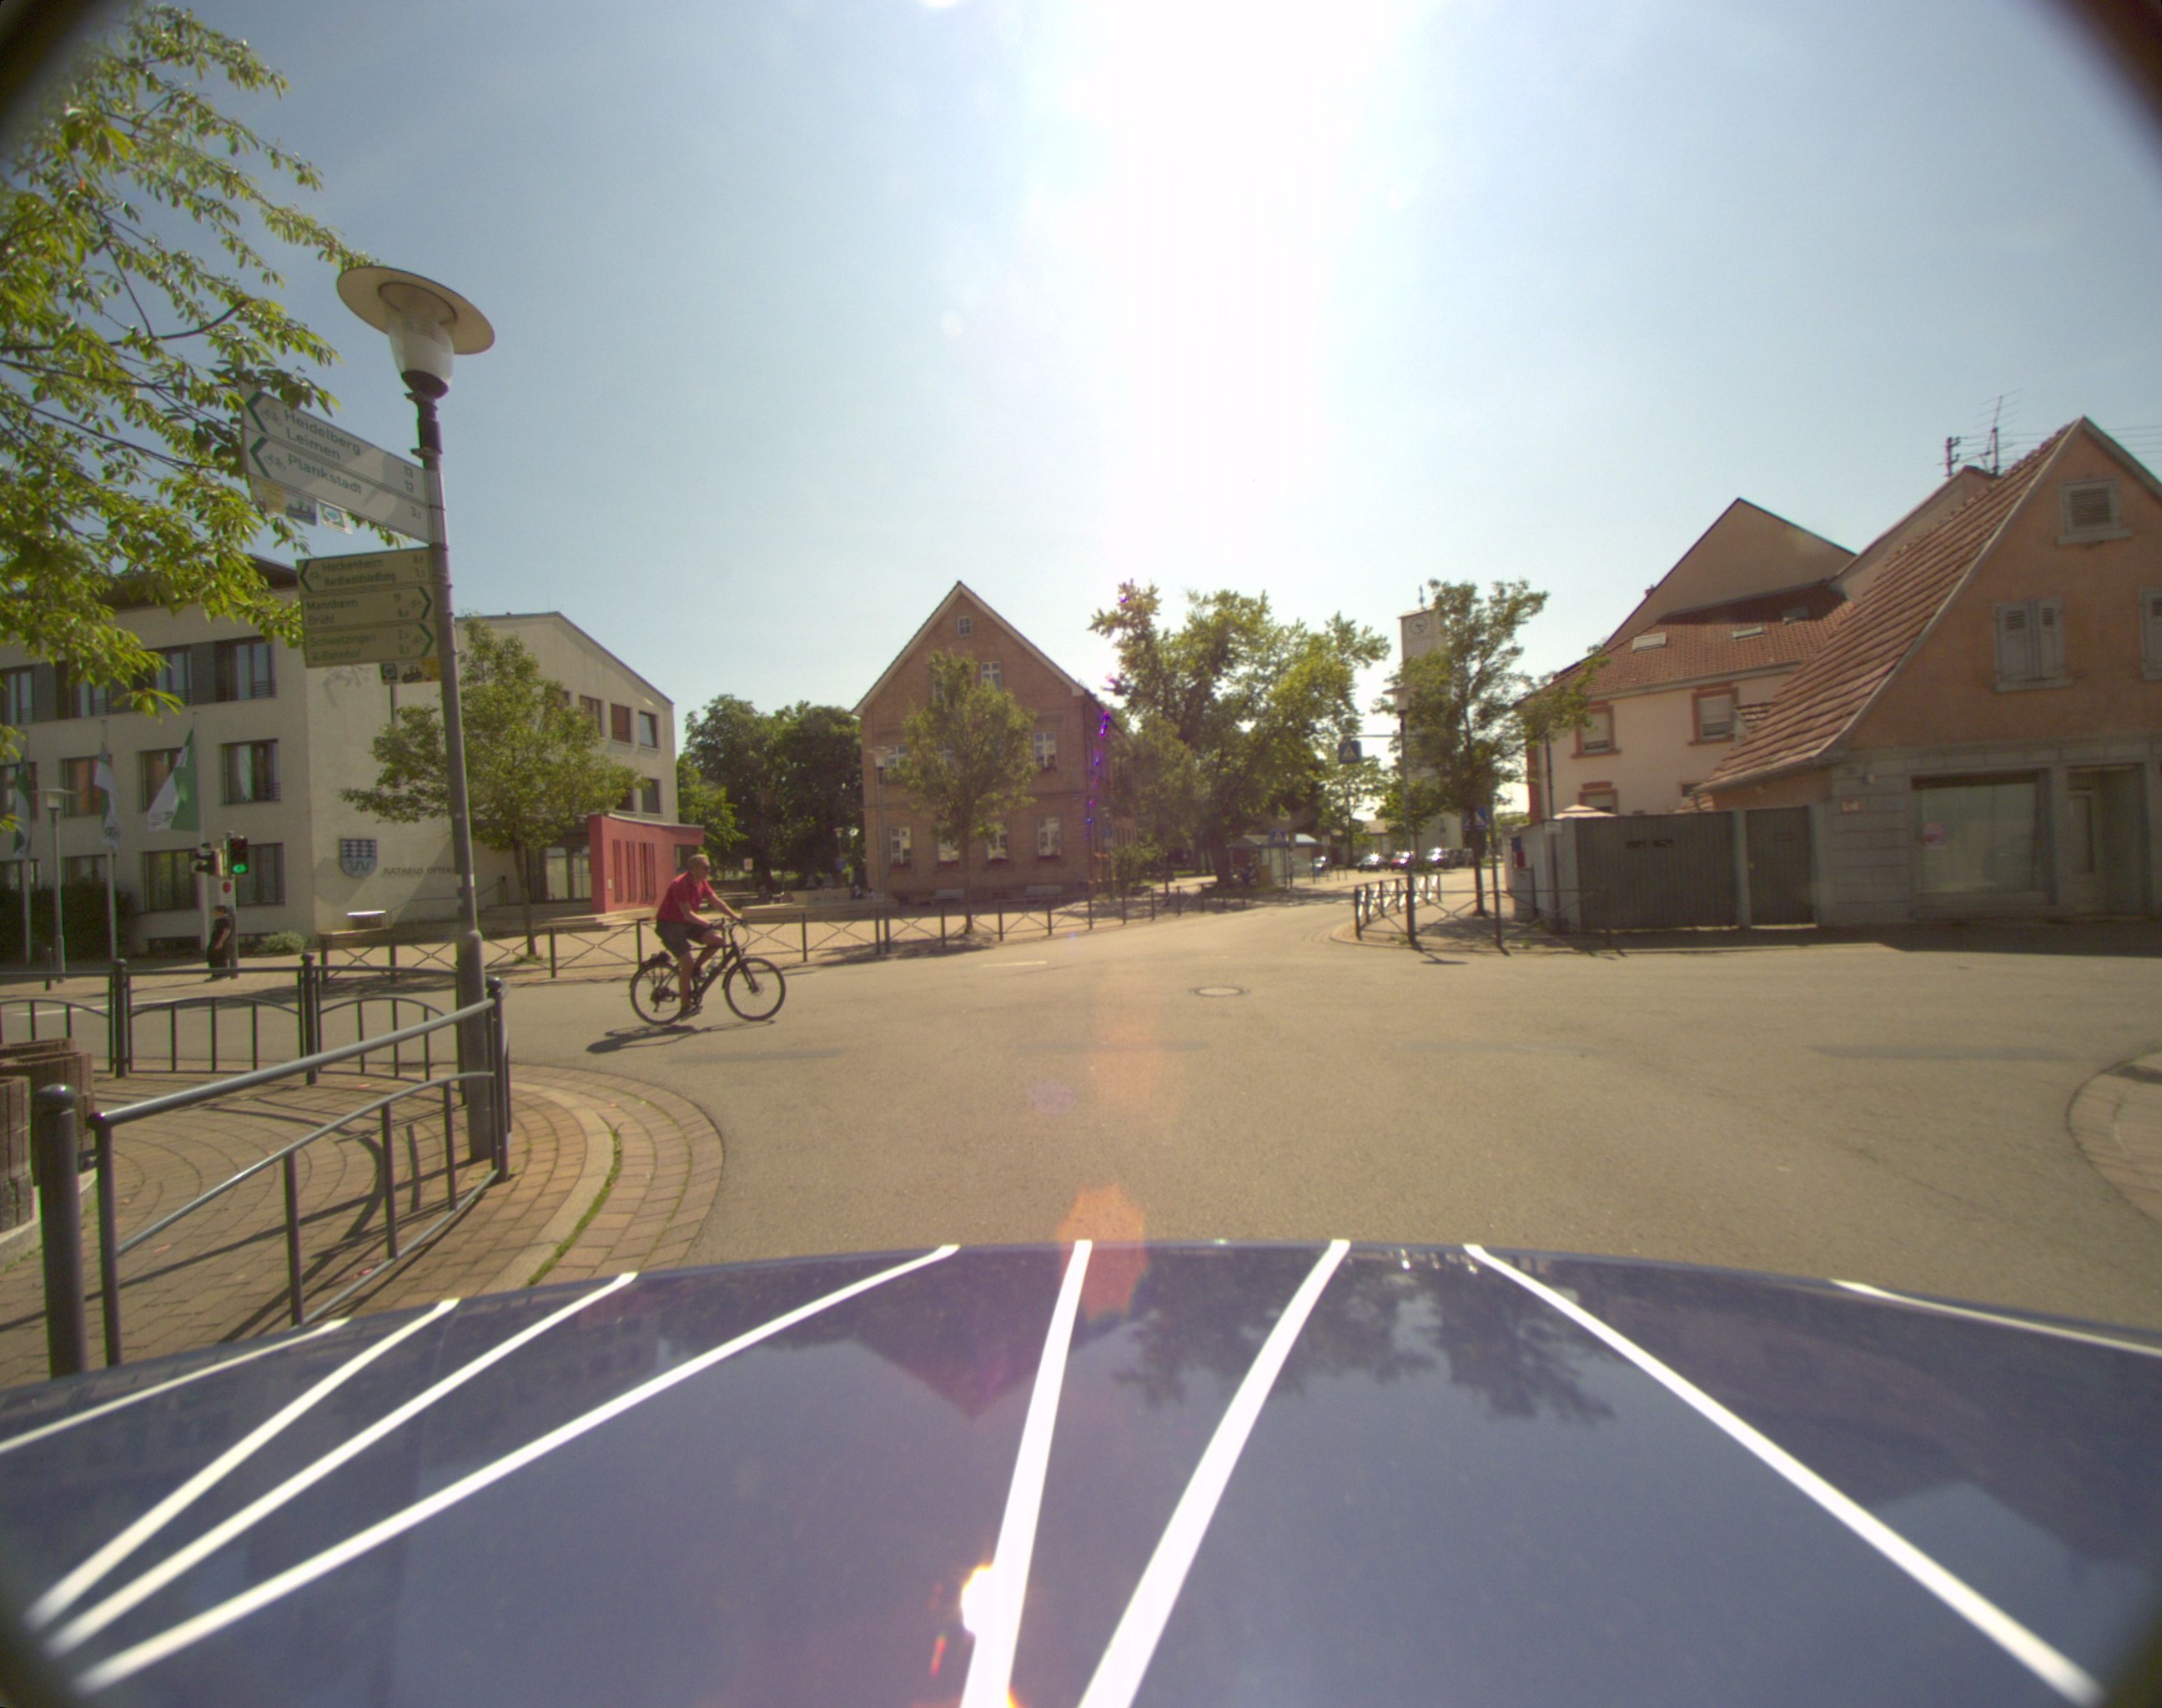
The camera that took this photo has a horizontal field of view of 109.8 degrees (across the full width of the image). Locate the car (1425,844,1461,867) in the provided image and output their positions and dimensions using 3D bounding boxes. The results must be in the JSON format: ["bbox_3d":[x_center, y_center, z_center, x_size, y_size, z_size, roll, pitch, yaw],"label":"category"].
[{"bbox_3d":[30.159,0.088,63.320,1.777,1.783,4.008,-2,0,39],"label":"car"}]

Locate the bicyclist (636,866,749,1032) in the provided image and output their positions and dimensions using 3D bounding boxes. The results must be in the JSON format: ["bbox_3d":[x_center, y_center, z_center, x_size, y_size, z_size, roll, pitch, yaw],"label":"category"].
[{"bbox_3d":[-4.213,1.005,8.284,0.759,1.706,0.704,-2,0,9],"label":"bicyclist"}]

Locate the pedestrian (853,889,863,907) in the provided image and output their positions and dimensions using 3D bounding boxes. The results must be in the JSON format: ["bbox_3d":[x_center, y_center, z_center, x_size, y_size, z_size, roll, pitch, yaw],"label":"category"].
[{"bbox_3d":[-10.552,2.067,35.911,0.367,0.812,0.361,-3,-1,-5],"label":"pedestrian"}]

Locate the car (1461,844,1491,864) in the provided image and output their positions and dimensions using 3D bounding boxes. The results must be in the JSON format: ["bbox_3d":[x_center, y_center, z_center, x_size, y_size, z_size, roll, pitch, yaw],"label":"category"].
[{"bbox_3d":[33.811,-0.001,65.018,1.777,1.635,4.008,-4,-2,34],"label":"car"}]

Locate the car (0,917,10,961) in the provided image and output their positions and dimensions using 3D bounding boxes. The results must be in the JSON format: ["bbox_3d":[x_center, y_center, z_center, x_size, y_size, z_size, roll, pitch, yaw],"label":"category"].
[{"bbox_3d":[-39.423,3.064,25.258,1.746,1.538,4.003,-3,0,10],"label":"car"}]

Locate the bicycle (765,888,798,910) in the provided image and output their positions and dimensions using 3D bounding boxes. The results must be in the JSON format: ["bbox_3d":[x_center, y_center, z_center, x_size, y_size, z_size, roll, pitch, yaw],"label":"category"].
[{"bbox_3d":[-15.458,2.310,39.234,0.580,1.000,1.955,-3,1,10],"label":"bicycle"}]

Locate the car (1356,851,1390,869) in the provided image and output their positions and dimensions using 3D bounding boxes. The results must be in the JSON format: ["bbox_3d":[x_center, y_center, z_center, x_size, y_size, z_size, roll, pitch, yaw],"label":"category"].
[{"bbox_3d":[25.532,0.494,66.367,1.646,1.459,3.787,-4,-2,37],"label":"car"}]

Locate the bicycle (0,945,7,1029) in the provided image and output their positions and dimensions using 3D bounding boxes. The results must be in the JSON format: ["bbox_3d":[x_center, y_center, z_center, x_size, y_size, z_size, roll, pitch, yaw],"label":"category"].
[{"bbox_3d":[-16.317,1.936,10.657,1.797,1.182,0.691,-3,-2,8],"label":"bicycle"}]

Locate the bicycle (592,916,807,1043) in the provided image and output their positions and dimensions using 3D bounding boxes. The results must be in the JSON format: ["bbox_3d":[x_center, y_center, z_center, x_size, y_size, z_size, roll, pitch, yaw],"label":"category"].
[{"bbox_3d":[-4.128,1.348,8.275,1.968,1.182,0.739,-5,-3,8],"label":"bicycle"}]

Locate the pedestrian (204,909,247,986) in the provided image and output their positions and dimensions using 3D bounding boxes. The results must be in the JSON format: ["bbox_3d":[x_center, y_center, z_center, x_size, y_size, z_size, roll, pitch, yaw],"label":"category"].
[{"bbox_3d":[-18.719,2.033,16.639,0.551,1.609,0.556,-2,0,-44],"label":"pedestrian"}]

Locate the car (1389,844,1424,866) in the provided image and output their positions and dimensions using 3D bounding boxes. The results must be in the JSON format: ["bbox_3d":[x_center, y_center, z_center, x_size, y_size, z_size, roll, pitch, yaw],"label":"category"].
[{"bbox_3d":[27.989,0.056,65.219,1.777,1.783,4.008,-4,-2,37],"label":"car"}]

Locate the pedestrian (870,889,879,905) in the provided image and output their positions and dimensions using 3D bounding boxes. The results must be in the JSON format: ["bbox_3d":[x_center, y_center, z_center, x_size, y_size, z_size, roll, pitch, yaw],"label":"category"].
[{"bbox_3d":[-9.730,2.010,35.826,0.289,0.728,0.357,-3,-1,-5],"label":"pedestrian"}]

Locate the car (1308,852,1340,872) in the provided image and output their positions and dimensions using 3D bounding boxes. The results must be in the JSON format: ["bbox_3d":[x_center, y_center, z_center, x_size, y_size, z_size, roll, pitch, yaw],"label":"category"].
[{"bbox_3d":[22.064,0.708,68.833,1.995,1.607,4.007,-3,-1,28],"label":"car"}]
